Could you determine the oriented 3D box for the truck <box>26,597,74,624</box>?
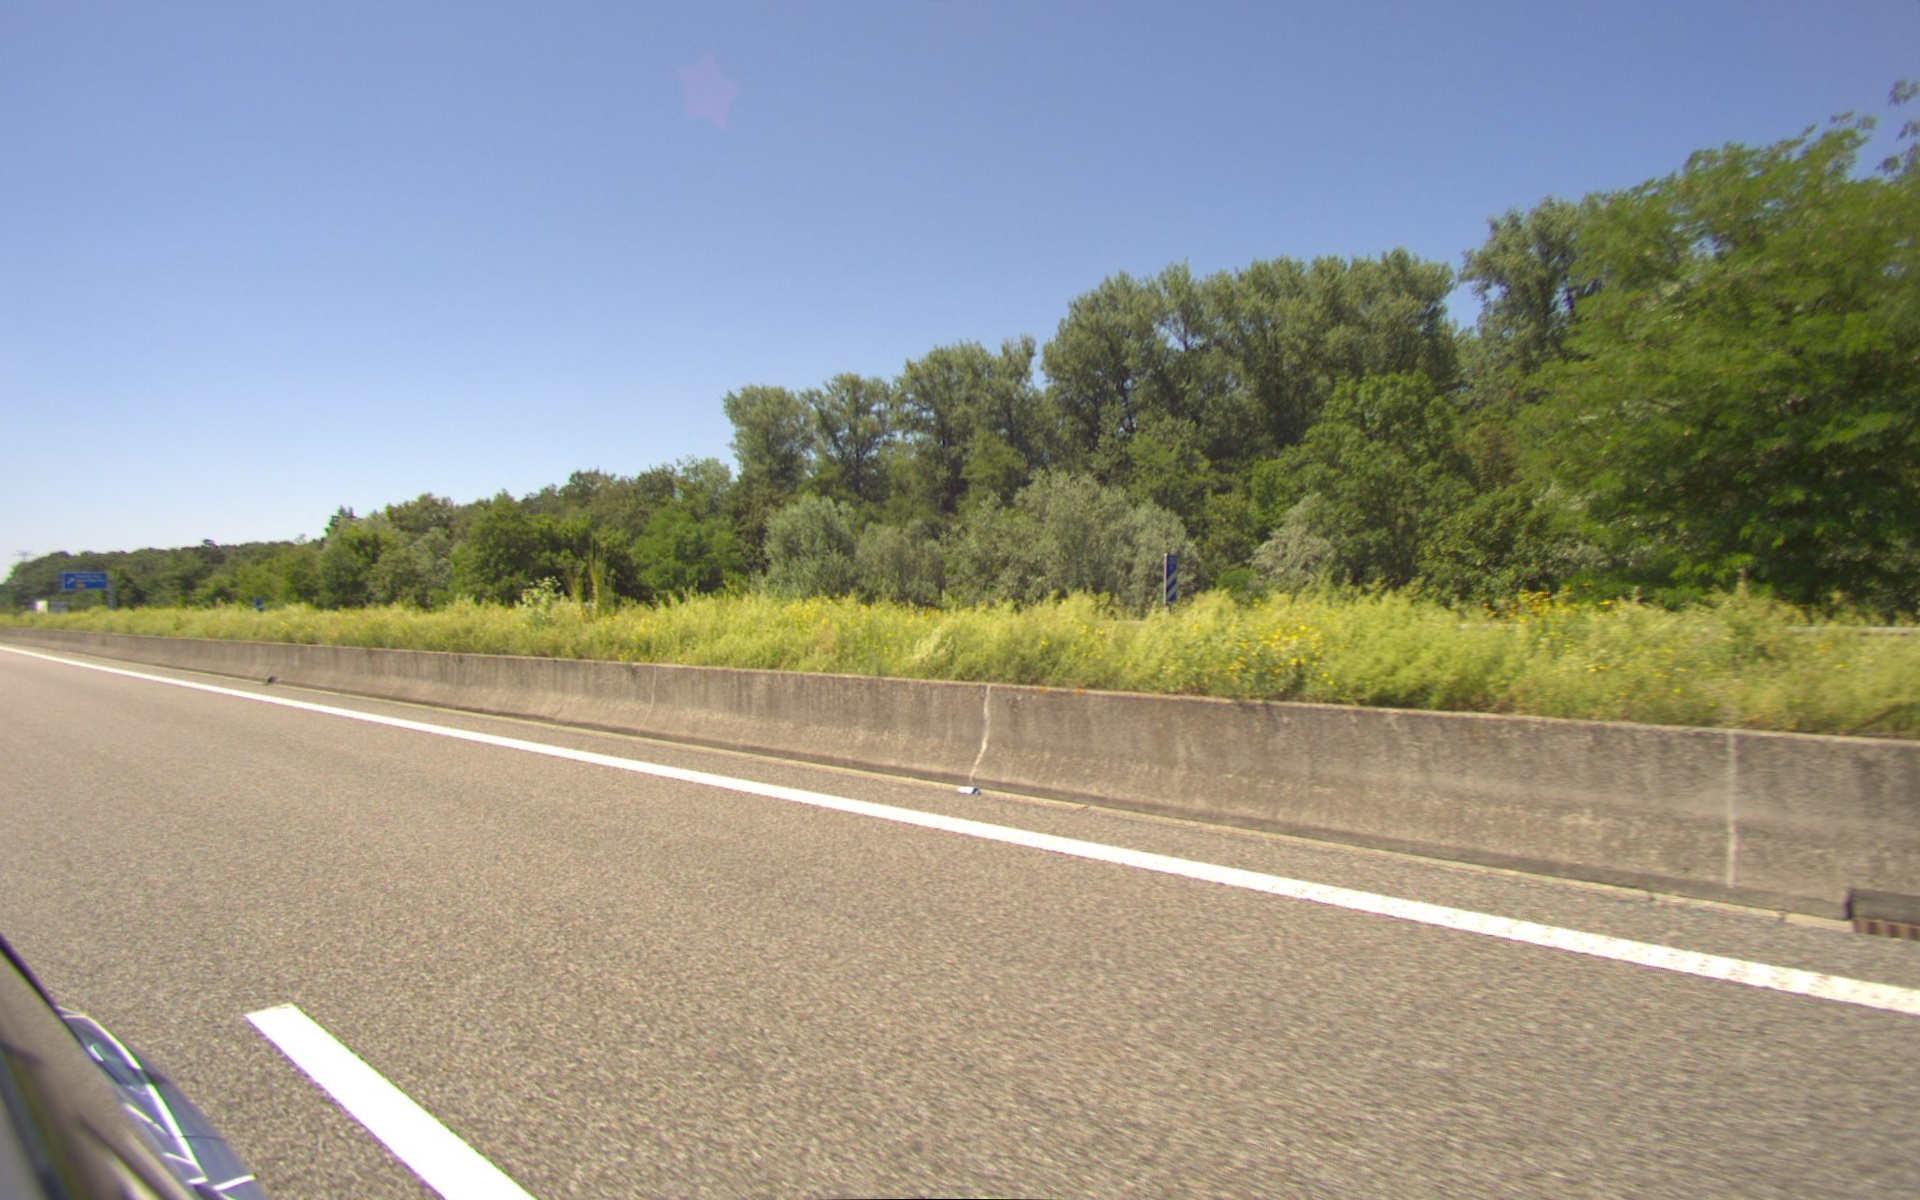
[{"bbox_3d":[-140.215,1.645,155.778,17.478,3.763,3.560,-2,0,42],"label":"truck"}]
